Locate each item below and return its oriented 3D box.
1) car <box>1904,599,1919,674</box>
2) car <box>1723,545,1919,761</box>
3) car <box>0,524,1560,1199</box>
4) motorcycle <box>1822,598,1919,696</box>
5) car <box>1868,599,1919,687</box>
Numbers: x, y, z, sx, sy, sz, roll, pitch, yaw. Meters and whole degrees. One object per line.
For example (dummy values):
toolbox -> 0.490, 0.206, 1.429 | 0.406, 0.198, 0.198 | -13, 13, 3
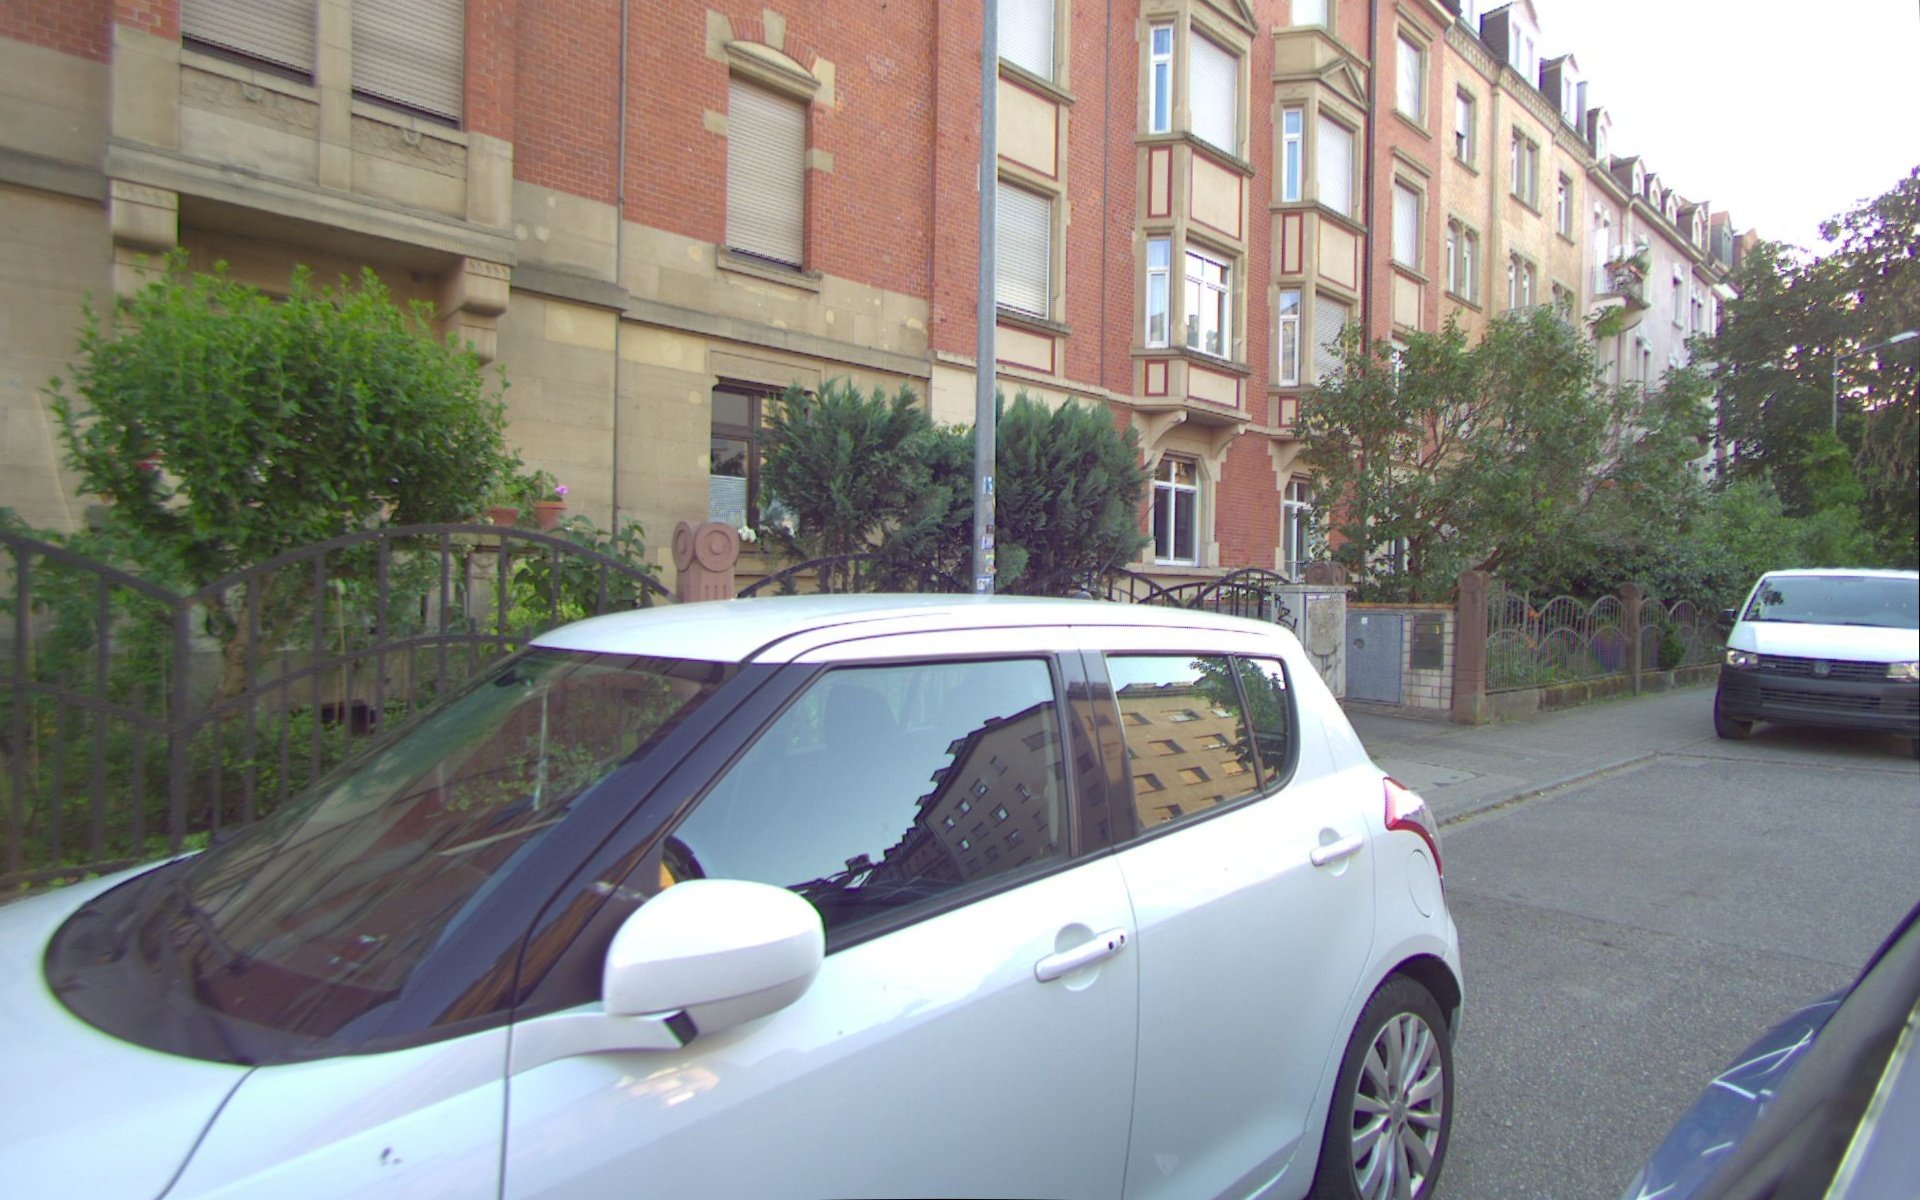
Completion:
car -> 22.813, 0.783, 22.710 | 4.755, 1.602, 1.760 | 0, 0, -39
car -> 10.893, 0.491, 12.060 | 5.450, 2.064, 1.864 | 0, 3, -43
car -> -0.373, 0.680, 2.205 | 3.792, 1.496, 1.678 | 0, 0, -39
motorcycle -> 15.826, 0.780, 16.706 | 2.066, 1.500, 1.128 | 3, 2, 16
car -> 18.909, 0.781, 19.333 | 4.247, 1.570, 1.724 | 0, 0, -39
